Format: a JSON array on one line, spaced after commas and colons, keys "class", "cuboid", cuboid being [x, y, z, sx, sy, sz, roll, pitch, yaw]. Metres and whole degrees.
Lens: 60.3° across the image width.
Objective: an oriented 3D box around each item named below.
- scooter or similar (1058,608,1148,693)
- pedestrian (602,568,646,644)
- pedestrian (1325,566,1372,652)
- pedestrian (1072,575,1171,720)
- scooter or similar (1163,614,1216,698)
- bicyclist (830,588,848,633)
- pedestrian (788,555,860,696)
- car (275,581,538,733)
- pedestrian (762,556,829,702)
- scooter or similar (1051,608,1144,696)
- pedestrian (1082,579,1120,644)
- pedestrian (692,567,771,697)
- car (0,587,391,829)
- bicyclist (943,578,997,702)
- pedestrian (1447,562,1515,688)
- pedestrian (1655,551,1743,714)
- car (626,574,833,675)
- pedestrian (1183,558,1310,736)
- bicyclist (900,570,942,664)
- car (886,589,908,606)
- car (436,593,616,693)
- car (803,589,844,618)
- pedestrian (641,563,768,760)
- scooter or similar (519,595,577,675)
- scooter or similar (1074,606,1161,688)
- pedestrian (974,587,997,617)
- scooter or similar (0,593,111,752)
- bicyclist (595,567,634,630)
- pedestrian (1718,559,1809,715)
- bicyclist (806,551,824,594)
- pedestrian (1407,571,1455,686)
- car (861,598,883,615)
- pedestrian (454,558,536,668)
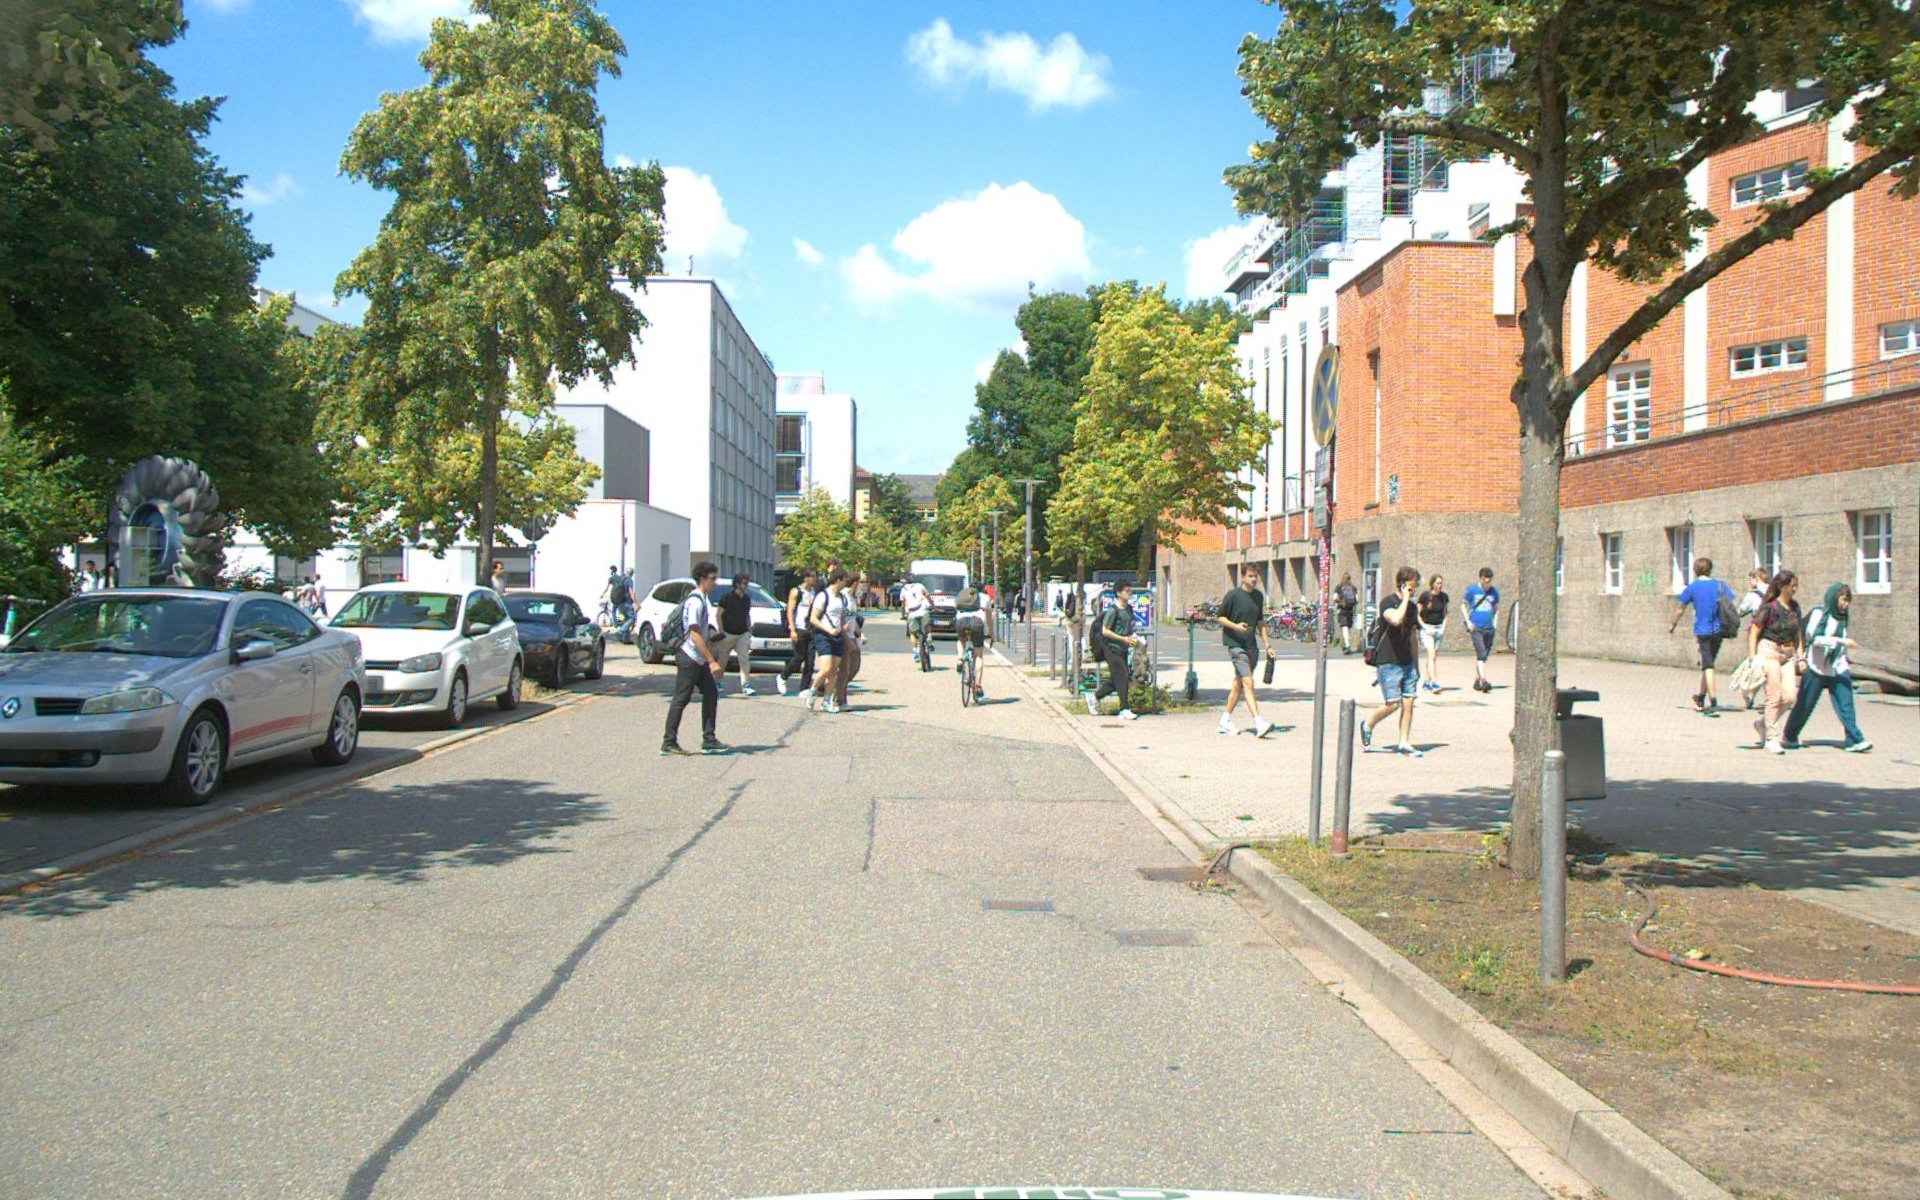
[{"class": "scooter or similar", "cuboid": [2.216, 0.768, 25.629, 1.237, 1.287, 0.649, 0, 0, 31]}, {"class": "pedestrian", "cuboid": [-8.110, 0.151, 39.960, 0.963, 1.817, 0.668, 1, -1, -5]}, {"class": "pedestrian", "cuboid": [8.710, 0.197, 37.114, 0.774, 1.892, 1.116, 0, 0, -2]}, {"class": "pedestrian", "cuboid": [2.012, 0.572, 20.645, 0.698, 1.750, 0.978, -2, 1, -44]}, {"class": "scooter or similar", "cuboid": [3.355, 0.800, 24.108, 0.635, 1.180, 1.266, 0, 0, 14]}, {"class": "bicyclist", "cuboid": [-4.740, 0.409, 64.859, 0.654, 1.711, 0.992, -1, 0, -4]}, {"class": "pedestrian", "cuboid": [-1.984, 0.360, 24.169, 0.809, 2.014, 0.692, 1, 1, 21]}, {"class": "car", "cuboid": [-5.852, 0.539, 17.936, 1.628, 1.436, 3.806, 2, 0, -2]}, {"class": "pedestrian", "cuboid": [-2.329, 0.403, 23.376, 0.610, 2.015, 0.819, 0, -1, -33]}, {"class": "scooter or similar", "cuboid": [2.066, 0.762, 24.851, 1.237, 1.287, 0.649, 0, 0, 31]}, {"class": "pedestrian", "cuboid": [3.833, 0.303, 45.112, 0.836, 1.763, 1.159, 0, 0, -5]}, {"class": "pedestrian", "cuboid": [-3.258, 0.442, 23.659, 0.785, 1.803, 0.854, 1, 1, 21]}, {"class": "car", "cuboid": [-5.672, 0.627, 11.862, 1.690, 1.367, 4.165, 2, 0, 0]}, {"class": "bicyclist", "cuboid": [0.147, 0.542, 23.209, 0.702, 1.691, 1.095, 0, 0, 3]}, {"class": "pedestrian", "cuboid": [7.766, 0.361, 24.676, 0.695, 1.818, 0.751, -1, 2, -10]}, {"class": "pedestrian", "cuboid": [8.978, 0.374, 20.131, 0.686, 1.924, 0.995, -2, 1, 9]}, {"class": "car", "cuboid": [-4.348, 0.409, 30.609, 1.902, 1.647, 4.464, 4, -1, -35]}, {"class": "pedestrian", "cuboid": [3.153, 0.503, 18.254, 0.846, 1.892, 1.100, 0, -1, -39]}, {"class": "bicyclist", "cuboid": [-0.752, 0.327, 31.988, 0.756, 1.787, 0.847, 0, 0, -5]}, {"class": "car", "cuboid": [-5.925, -0.251, 155.643, 1.758, 1.557, 4.001, 0, 0, 3]}, {"class": "car", "cuboid": [-6.260, 0.571, 24.271, 1.611, 1.323, 3.927, 0, 0, 0]}, {"class": "car", "cuboid": [-7.371, 0.166, 89.648, 1.758, 1.557, 4.001, 0, 0, 3]}, {"class": "pedestrian", "cuboid": [-2.341, 0.552, 15.246, 1.084, 1.746, 0.709, 2, 1, -8]}, {"class": "scooter or similar", "cuboid": [-7.112, 0.591, 28.615, 0.493, 1.322, 1.217, -1, 1, 10]}, {"class": "scooter or similar", "cuboid": [2.515, 0.736, 26.451, 1.237, 1.287, 0.638, 0, 0, 31]}, {"class": "pedestrian", "cuboid": [1.809, 0.126, 119.137, 1.470, 2.031, 1.645, -3, 1, -3]}, {"class": "scooter or similar", "cuboid": [-8.087, 0.611, 14.587, 0.514, 1.310, 1.229, -3, 1, -1]}, {"class": "bicyclist", "cuboid": [-9.964, -0.051, 47.708, 0.680, 1.787, 0.807, 0, -1, 40]}, {"class": "pedestrian", "cuboid": [9.792, 0.433, 20.178, 0.686, 1.835, 0.995, -1, 1, 7]}, {"class": "bicyclist", "cuboid": [-5.531, -1.046, 63.154, 0.630, 1.629, 0.908, -1, 0, -3]}, {"class": "pedestrian", "cuboid": [6.955, 0.405, 24.437, 0.492, 1.659, 0.570, -1, 2, -10]}, {"class": "car", "cuboid": [-8.297, 0.637, 156.093, 1.758, 1.557, 4.001, 0, 0, 3]}, {"class": "pedestrian", "cuboid": [-8.480, 0.240, 30.140, 1.007, 1.937, 1.163, 4, -2, -37]}]
